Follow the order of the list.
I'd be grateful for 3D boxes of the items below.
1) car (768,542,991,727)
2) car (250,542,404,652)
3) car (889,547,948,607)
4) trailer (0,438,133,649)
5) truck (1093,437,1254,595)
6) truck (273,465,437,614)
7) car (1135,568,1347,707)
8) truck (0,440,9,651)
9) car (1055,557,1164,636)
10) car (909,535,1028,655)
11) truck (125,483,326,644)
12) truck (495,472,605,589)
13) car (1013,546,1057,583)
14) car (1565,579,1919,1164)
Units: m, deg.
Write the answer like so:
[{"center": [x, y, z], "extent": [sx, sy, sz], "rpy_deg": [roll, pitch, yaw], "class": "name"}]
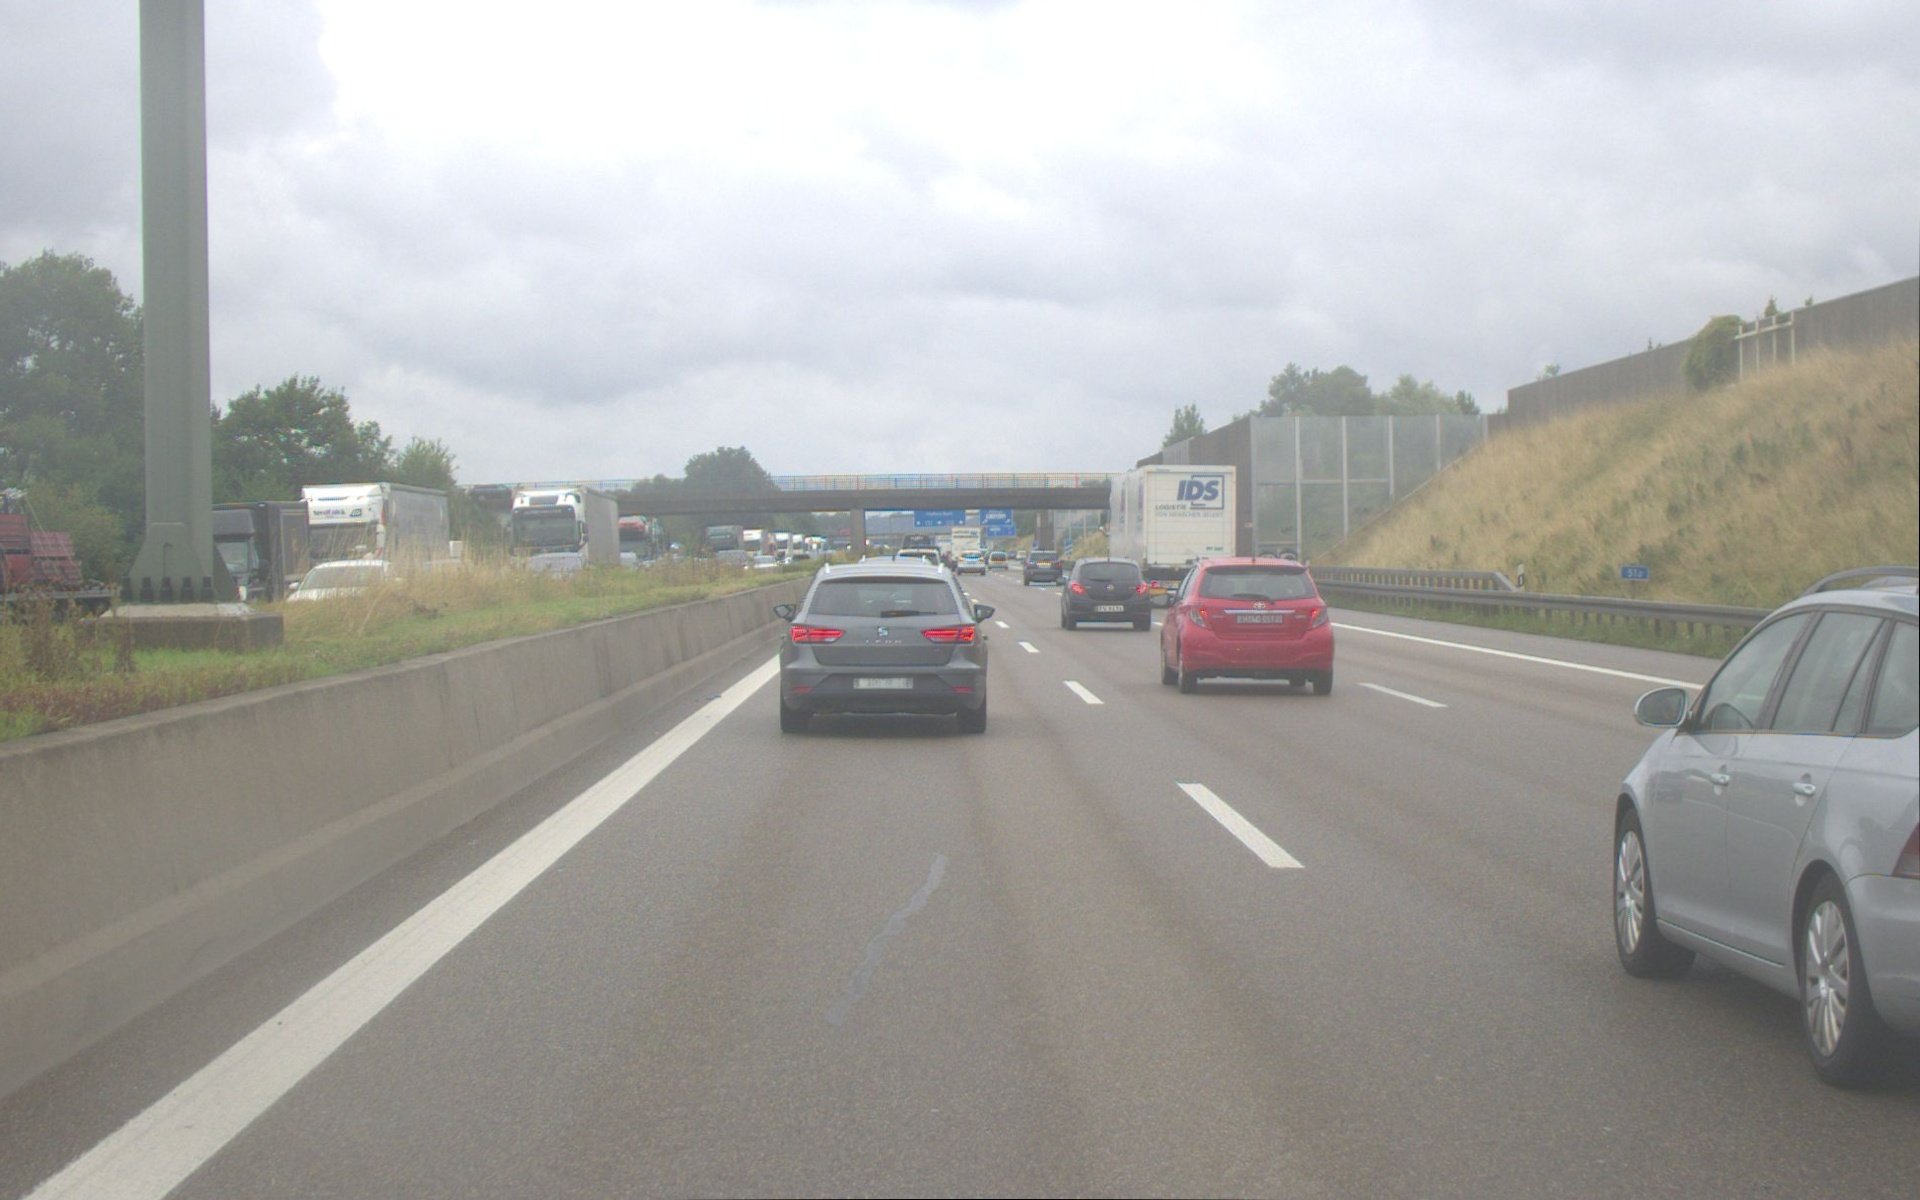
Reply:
[{"center": [-0.726, 0.265, 29.646], "extent": [1.768, 1.462, 4.000], "rpy_deg": [1, 0, -2], "class": "car"}, {"center": [-10.329, -0.058, 56.341], "extent": [1.781, 1.711, 4.000], "rpy_deg": [1, 0, 0], "class": "car"}, {"center": [-1.336, -0.746, 108.776], "extent": [1.704, 1.790, 3.855], "rpy_deg": [-2, 1, -2], "class": "car"}, {"center": [-18.244, -1.151, 64.372], "extent": [2.641, 3.713, 12.195], "rpy_deg": [1, 2, -1], "class": "trailer"}, {"center": [6.259, -2.387, 104.334], "extent": [3.283, 4.280, 19.034], "rpy_deg": [1, 0, -1], "class": "truck"}, {"center": [-18.178, -1.796, 103.819], "extent": [3.615, 4.260, 7.592], "rpy_deg": [1, 0, 0], "class": "truck"}, {"center": [3.119, 0.382, 39.032], "extent": [1.891, 1.442, 4.685], "rpy_deg": [0, 1, -2], "class": "car"}, {"center": [-18.184, -0.892, 58.071], "extent": [2.641, 3.713, 5.872], "rpy_deg": [1, 2, -1], "class": "truck"}, {"center": [2.996, -0.094, 69.789], "extent": [1.921, 1.516, 4.622], "rpy_deg": [0, 1, -1], "class": "car"}, {"center": [0.108, -0.110, 55.739], "extent": [1.825, 1.844, 4.000], "rpy_deg": [-1, 1, -1], "class": "car"}, {"center": [-14.107, -0.688, 66.568], "extent": [2.311, 2.898, 7.424], "rpy_deg": [1, 0, 0], "class": "truck"}, {"center": [-14.381, -2.391, 121.007], "extent": [3.092, 3.962, 6.372], "rpy_deg": [1, 0, 0], "class": "truck"}, {"center": [3.483, -1.666, 160.303], "extent": [1.845, 1.681, 4.000], "rpy_deg": [1, 0, -2], "class": "car"}, {"center": [3.226, 0.667, 10.812], "extent": [1.742, 1.420, 4.517], "rpy_deg": [-1, 1, -1], "class": "car"}]
